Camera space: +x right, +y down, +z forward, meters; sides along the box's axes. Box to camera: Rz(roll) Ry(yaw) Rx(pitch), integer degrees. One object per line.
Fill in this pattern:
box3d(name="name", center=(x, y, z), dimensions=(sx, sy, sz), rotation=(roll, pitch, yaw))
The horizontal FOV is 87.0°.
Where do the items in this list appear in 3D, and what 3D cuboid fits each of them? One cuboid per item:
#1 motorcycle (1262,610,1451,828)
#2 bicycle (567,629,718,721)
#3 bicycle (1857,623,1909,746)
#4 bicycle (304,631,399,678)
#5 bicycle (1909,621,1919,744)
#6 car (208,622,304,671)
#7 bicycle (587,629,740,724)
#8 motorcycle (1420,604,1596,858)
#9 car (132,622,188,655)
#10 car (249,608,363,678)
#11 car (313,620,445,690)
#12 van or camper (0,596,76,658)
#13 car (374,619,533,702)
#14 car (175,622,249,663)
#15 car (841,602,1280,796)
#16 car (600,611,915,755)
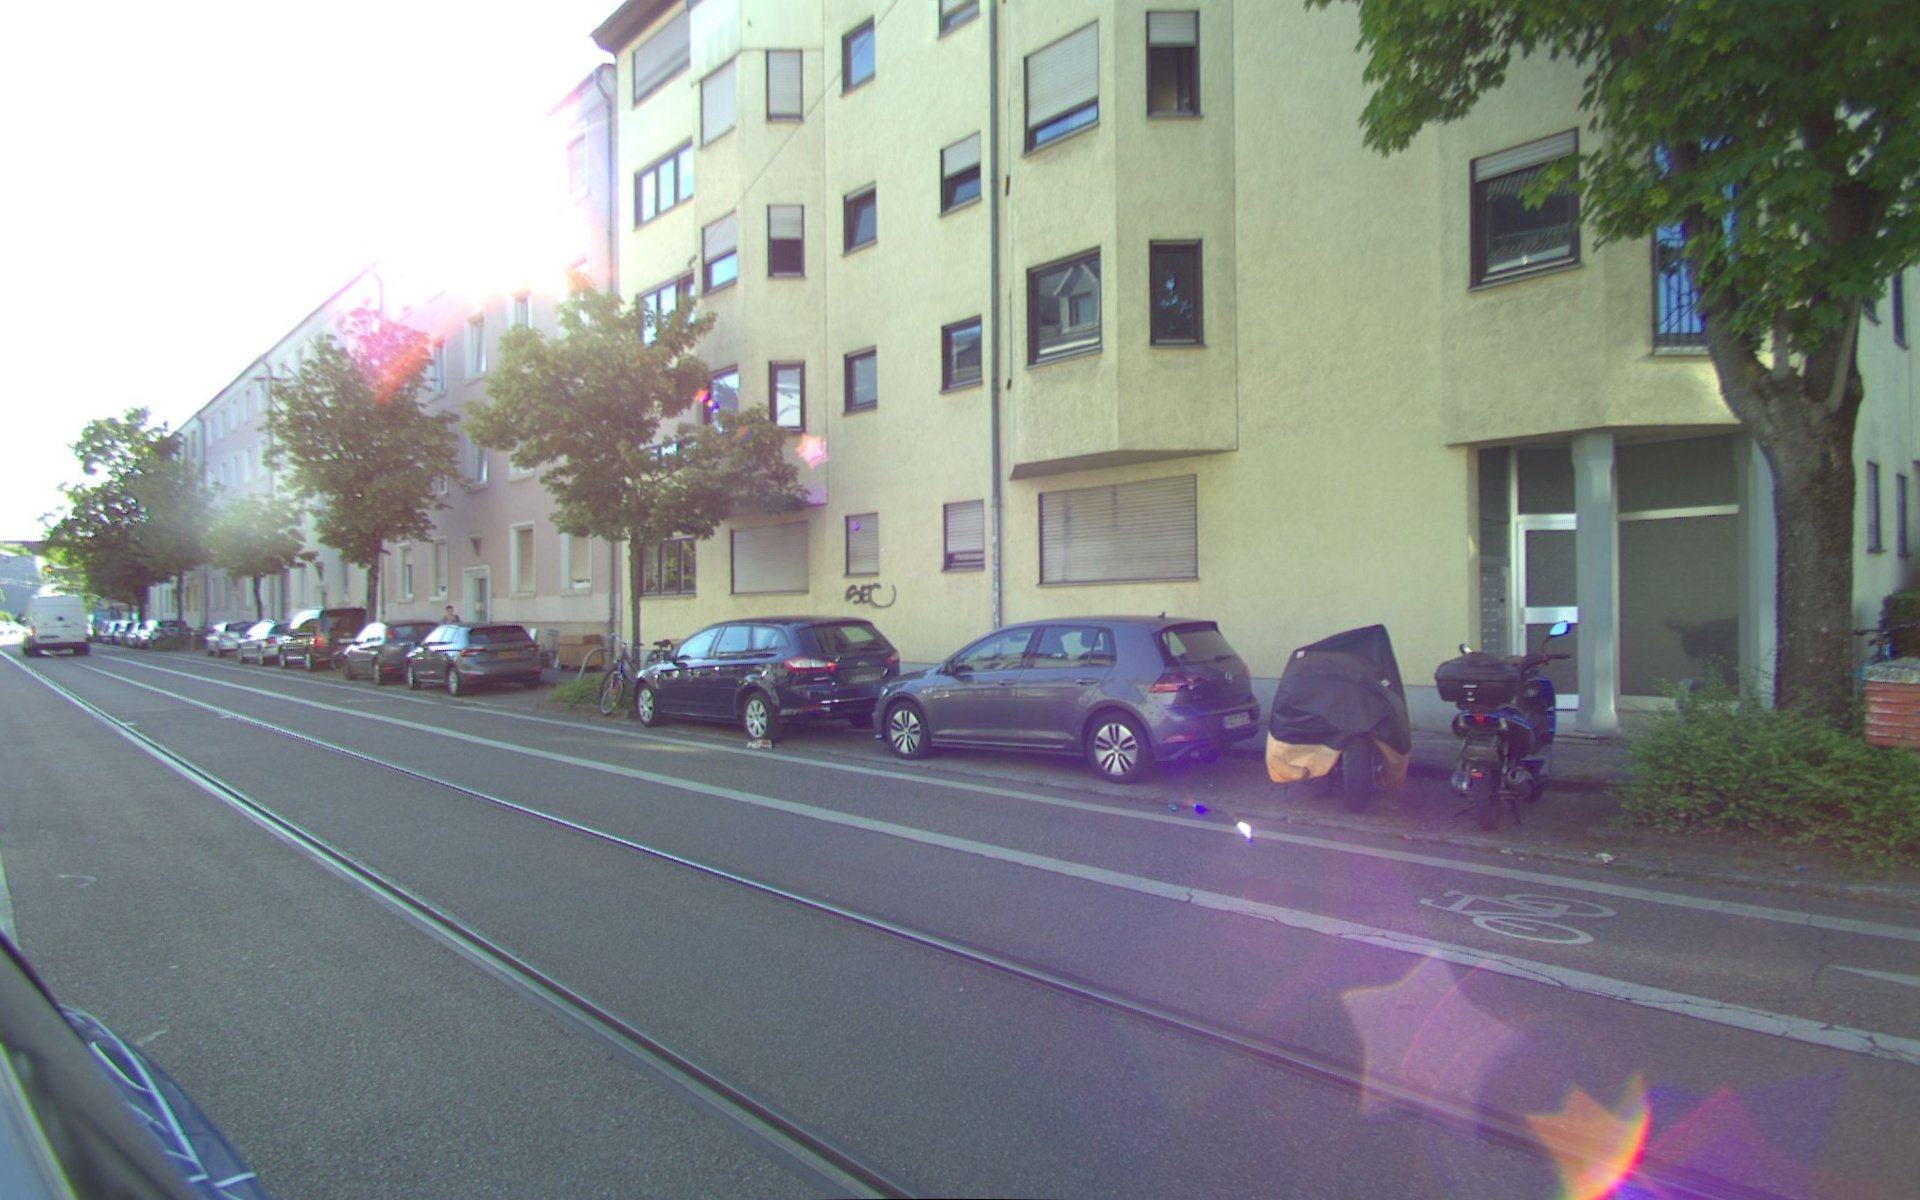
box3d(name="motorcycle", center=(3.137, 0.821, 7.890), dimensions=(0.835, 1.458, 1.950), rotation=(-2, -1, 38))
box3d(name="bicycle", center=(-5.134, 1.169, 16.495), dimensions=(0.700, 1.344, 2.266), rotation=(-2, -1, 44))
box3d(name="bicycle", center=(8.924, 0.780, 9.797), dimensions=(0.332, 1.054, 1.374), rotation=(-2, 0, 42))
box3d(name="bicycle", center=(-16.696, 1.474, 27.808), dimensions=(0.746, 1.113, 2.089), rotation=(-2, 2, 43))
box3d(name="bicycle", center=(9.213, 0.754, 9.542), dimensions=(0.332, 1.054, 1.374), rotation=(-2, 0, 42))
box3d(name="car", center=(-23.757, 1.528, 34.087), dimensions=(4.859, 1.484, 1.745), rotation=(-2, -1, 44))
box3d(name="bicycle", center=(-4.639, 1.160, 15.987), dimensions=(0.700, 1.344, 2.266), rotation=(-2, -1, 44))
box3d(name="motorcycle", center=(3.751, 0.764, 6.842), dimensions=(0.719, 1.458, 1.950), rotation=(-2, -1, 38))
box3d(name="car", center=(-42.538, 2.011, 53.756), dimensions=(4.047, 1.635, 1.666), rotation=(-2, -1, 42))
box3d(name="car", center=(-19.664, 1.261, 30.348), dimensions=(4.423, 1.859, 1.746), rotation=(-2, 1, 42))
box3d(name="car", center=(-14.339, 1.288, 24.880), dimensions=(1.745, 1.484, 4.183), rotation=(-4, 2, -45))
box3d(name="van or camper", center=(-41.280, 1.170, 44.959), dimensions=(6.834, 2.572, 2.344), rotation=(-2, -1, 43))
box3d(name="car", center=(-10.811, 1.210, 21.480), dimensions=(4.043, 1.484, 1.745), rotation=(-2, 2, 44))
box3d(name="car", center=(-30.020, 1.678, 40.583), dimensions=(1.745, 1.484, 4.755), rotation=(-1, -1, -44))
box3d(name="car", center=(0.860, 0.837, 10.144), dimensions=(4.125, 1.554, 1.718), rotation=(-2, -1, 40))
box3d(name="car", center=(-2.843, 0.964, 13.376), dimensions=(1.745, 1.554, 4.736), rotation=(0, -1, -45))
